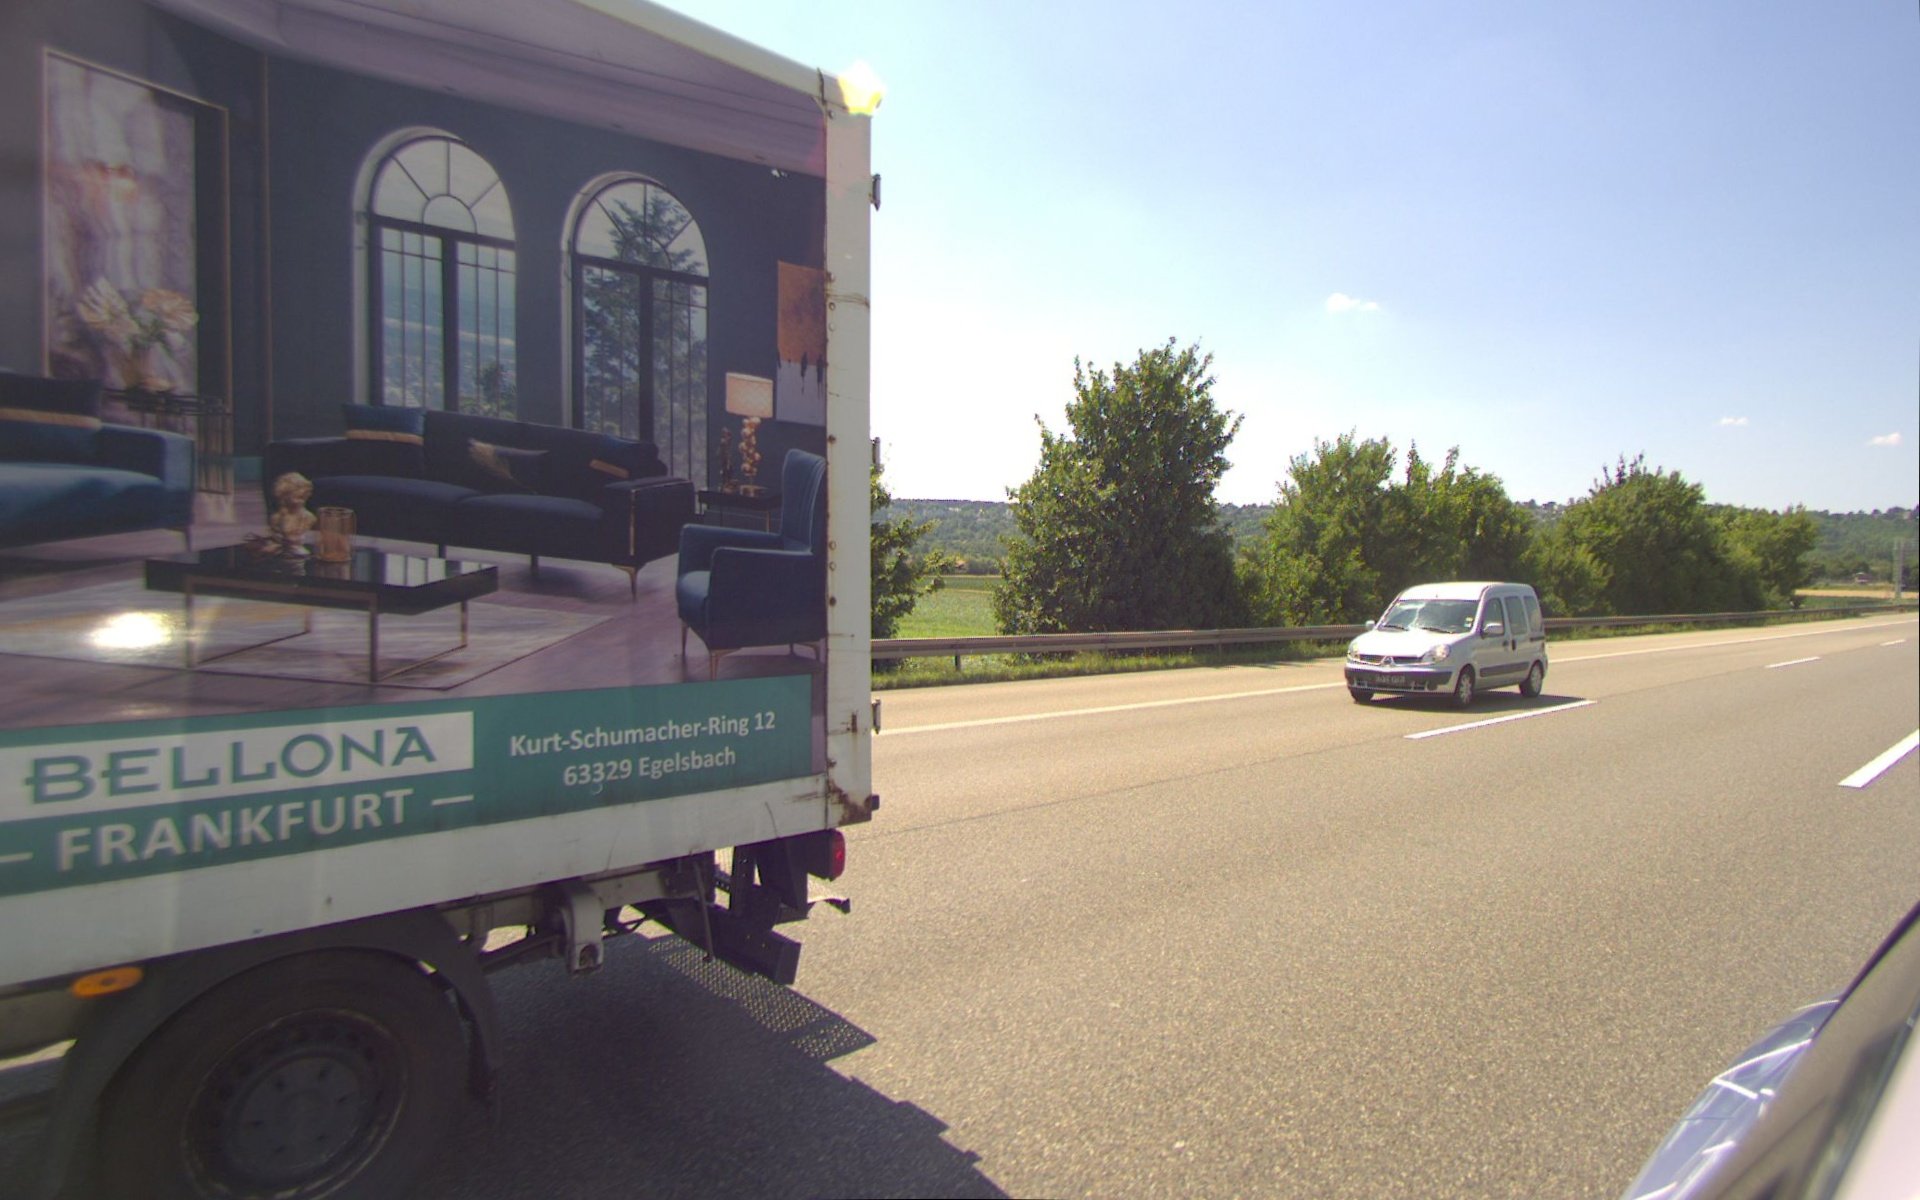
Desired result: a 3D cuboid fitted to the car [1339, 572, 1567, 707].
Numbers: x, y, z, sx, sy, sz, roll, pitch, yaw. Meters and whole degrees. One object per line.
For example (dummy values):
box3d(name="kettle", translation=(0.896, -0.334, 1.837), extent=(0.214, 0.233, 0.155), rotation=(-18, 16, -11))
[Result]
box3d(name="car", translation=(7.406, 0.511, 15.050), extent=(3.902, 1.759, 1.630), rotation=(0, 0, -40))

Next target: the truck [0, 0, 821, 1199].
box3d(name="truck", translation=(-3.634, -0.124, 1.575), extent=(6.634, 3.106, 2.324), rotation=(0, 0, -42))
